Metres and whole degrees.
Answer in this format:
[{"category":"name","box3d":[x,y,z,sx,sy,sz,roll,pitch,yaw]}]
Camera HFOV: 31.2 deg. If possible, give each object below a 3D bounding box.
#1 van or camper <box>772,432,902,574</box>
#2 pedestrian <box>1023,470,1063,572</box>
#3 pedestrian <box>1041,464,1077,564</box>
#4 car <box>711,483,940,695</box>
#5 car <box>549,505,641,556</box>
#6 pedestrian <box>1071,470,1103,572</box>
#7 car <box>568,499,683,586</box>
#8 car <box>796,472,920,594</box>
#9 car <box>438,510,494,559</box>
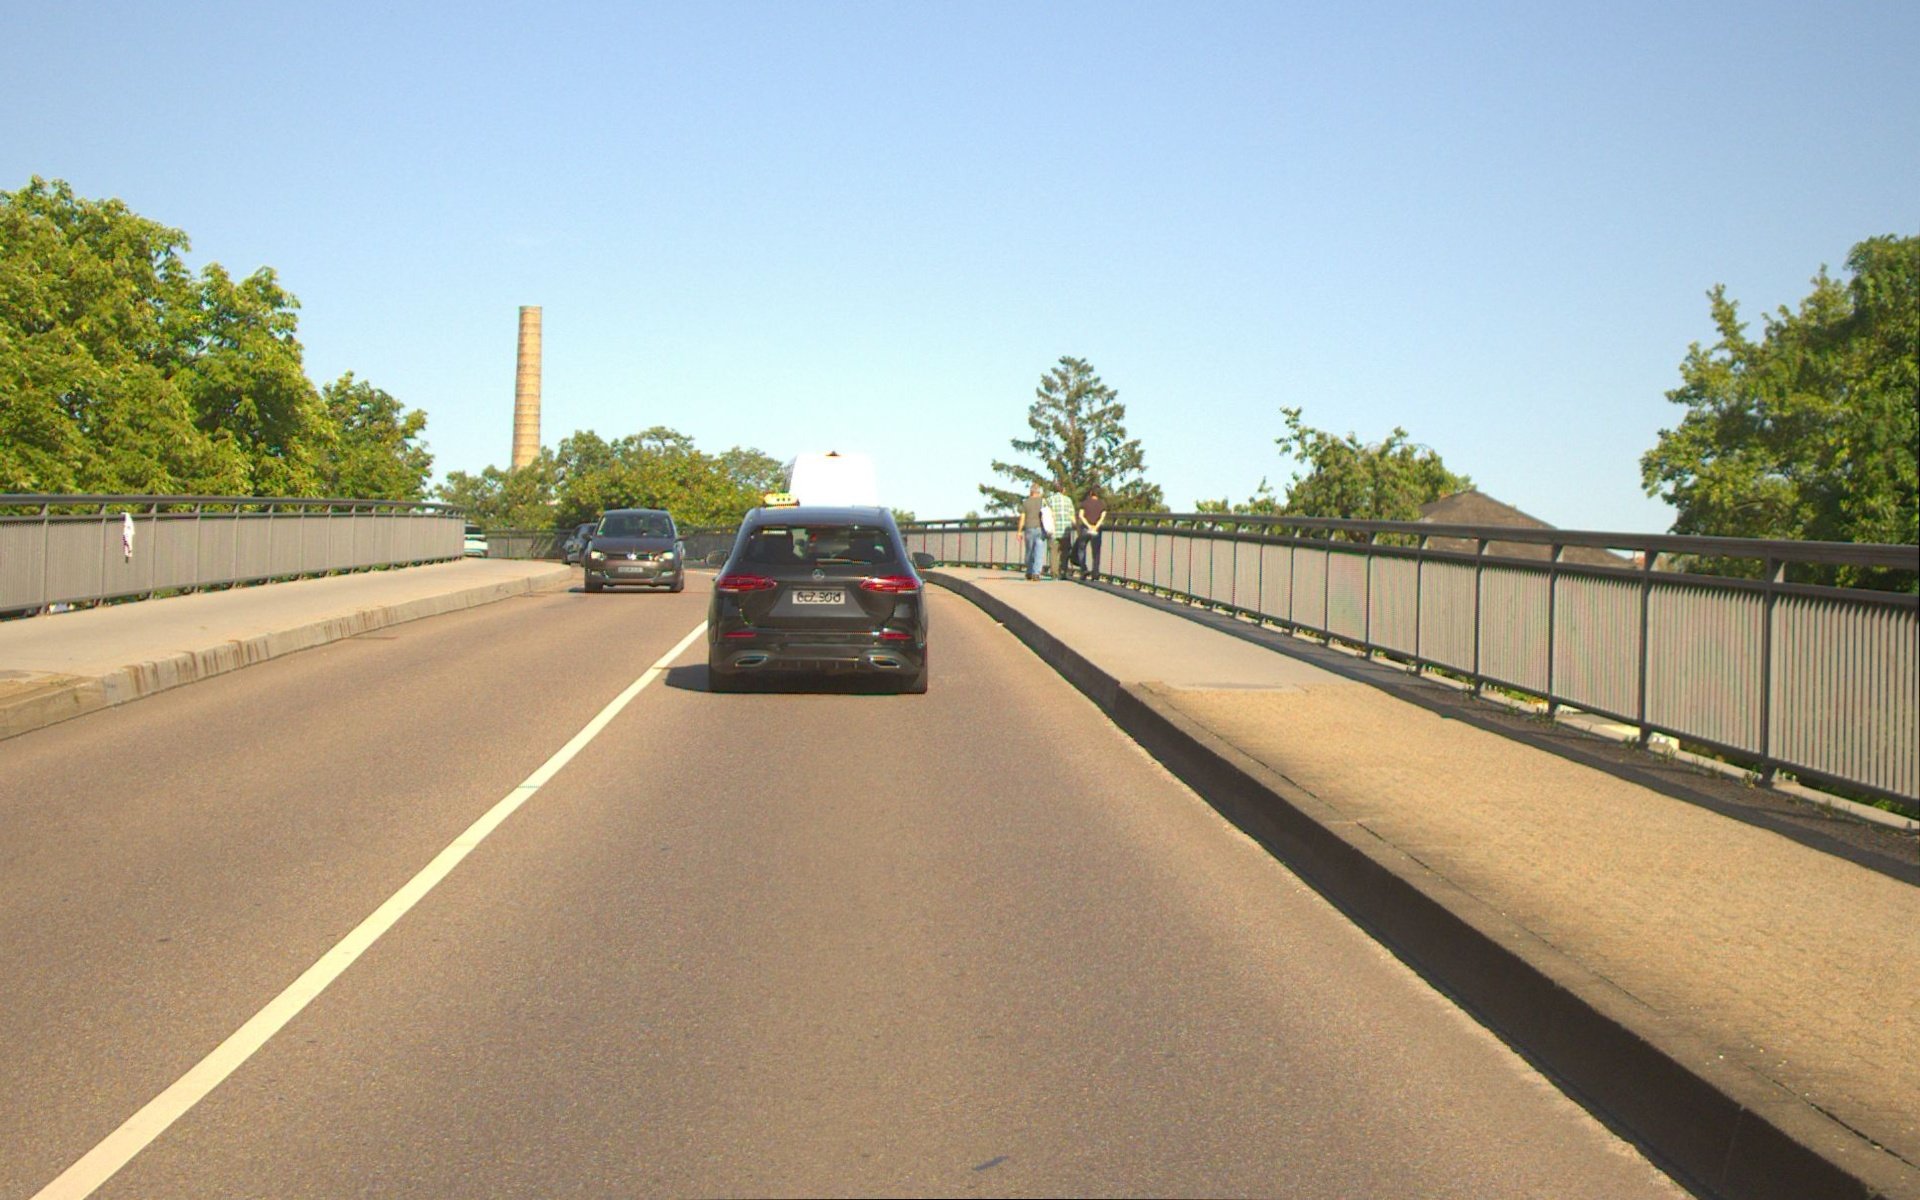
[{"category":"van or camper","box3d":[-2.702,-2.005,73.624,2.226,2.730,7.081,2,-1,-6]},{"category":"pedestrian","box3d":[1.450,-1.385,60.163,0.602,1.744,0.717,2,-1,-2]},{"category":"pedestrian","box3d":[1.749,-1.526,61.042,0.549,1.744,0.738,2,-1,-2]},{"category":"car","box3d":[-1.203,-0.150,29.227,1.769,1.587,3.990,2,2,-4]},{"category":"car","box3d":[-12.256,-2.327,115.710,1.919,1.483,4.268,0,-2,10]},{"category":"pedestrian","box3d":[2.225,-1.379,60.297,0.471,1.744,0.654,2,-1,-2]},{"category":"car","box3d":[-5.822,-1.026,60.184,1.769,1.469,3.990,0,1,-2]},{"category":"car","box3d":[-1.567,-1.018,54.042,1.804,1.634,4.000,2,-2,0]},{"category":"car","box3d":[-18.906,-2.506,131.775,1.993,1.674,4.000,1,-2,-7]}]
